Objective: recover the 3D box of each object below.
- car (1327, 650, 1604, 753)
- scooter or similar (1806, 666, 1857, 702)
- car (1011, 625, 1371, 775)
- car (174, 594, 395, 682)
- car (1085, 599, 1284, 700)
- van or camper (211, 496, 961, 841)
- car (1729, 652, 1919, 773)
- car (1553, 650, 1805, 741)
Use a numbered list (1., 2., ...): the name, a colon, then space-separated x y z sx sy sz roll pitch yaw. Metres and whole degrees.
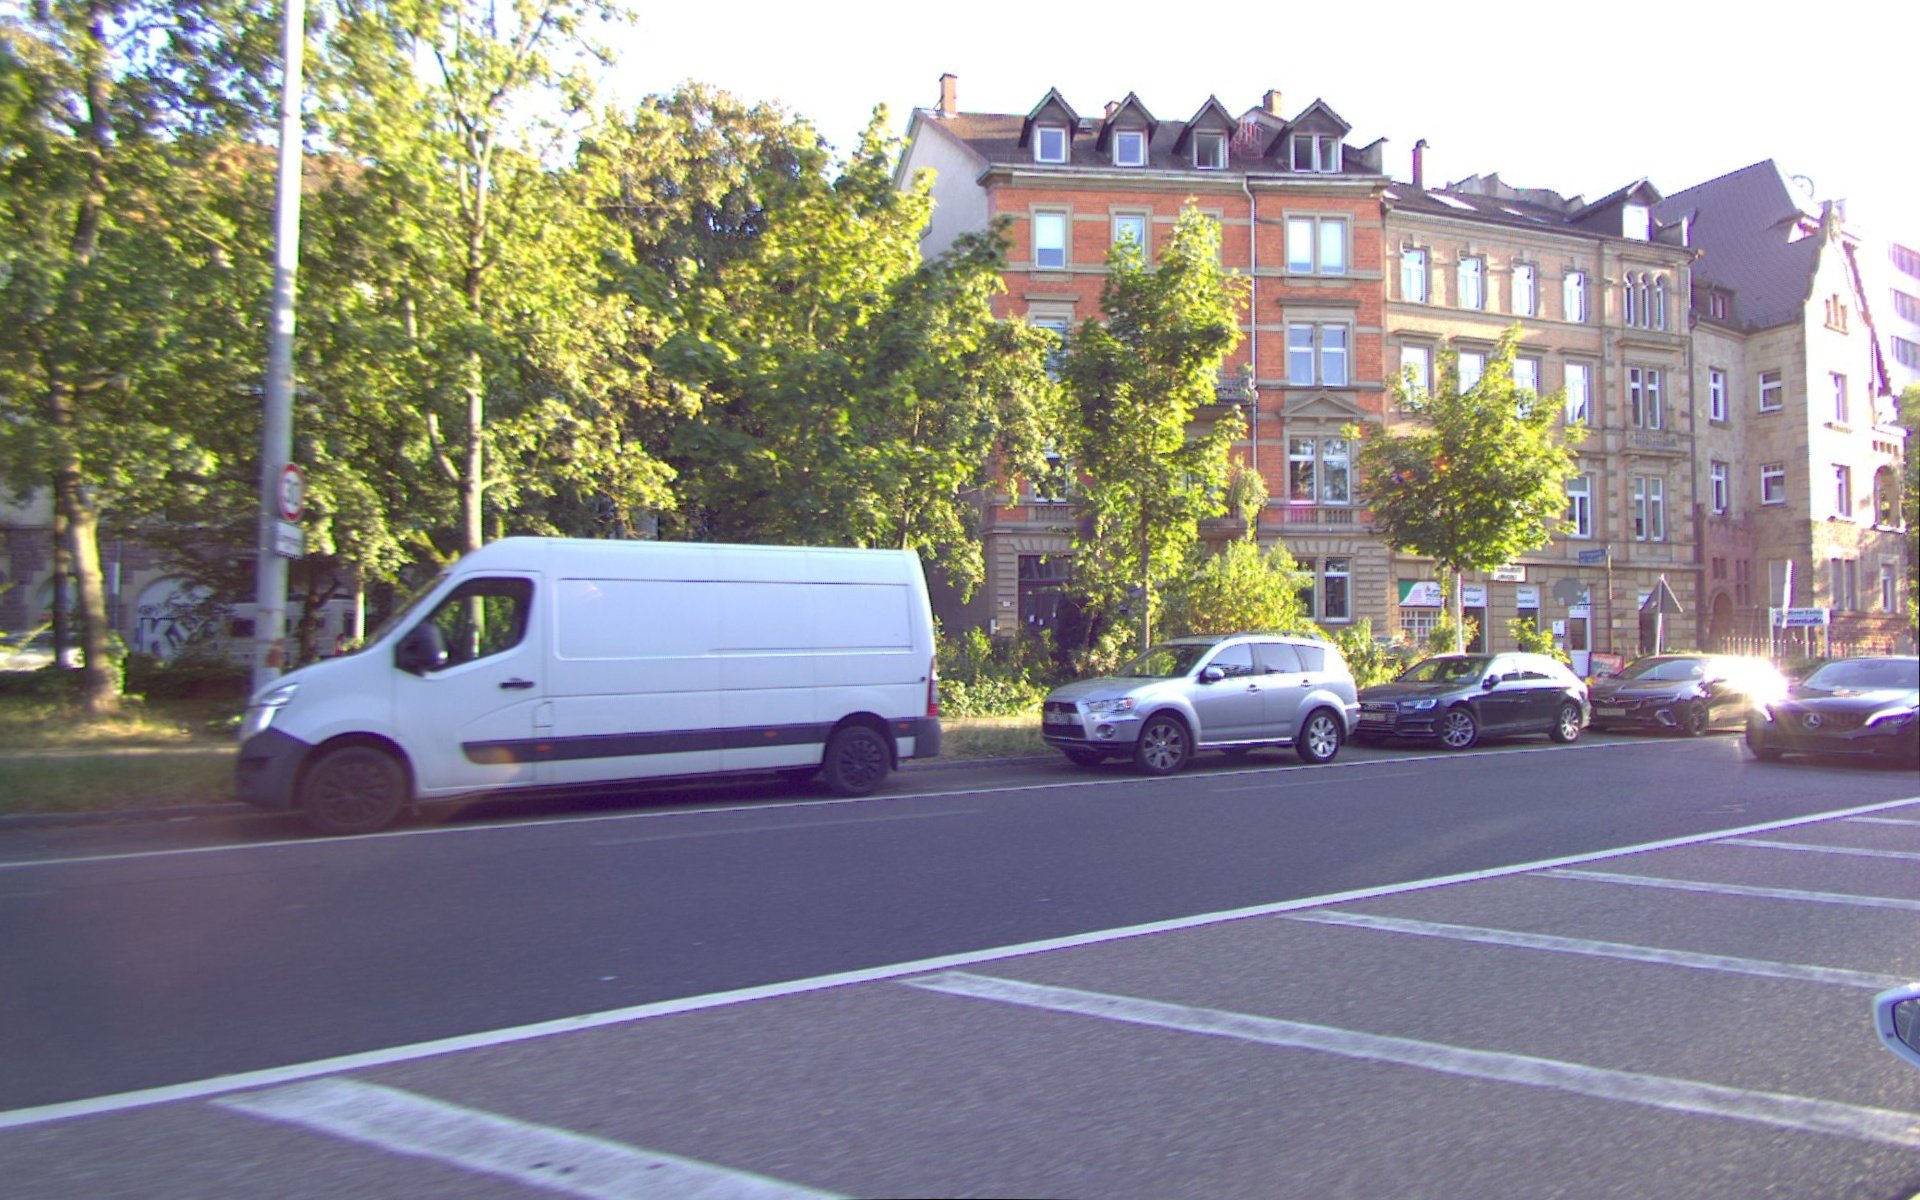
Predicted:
1. car: 8.160 1.542 16.119 4.570 1.464 1.729 2 -4 -30
2. scooter or similar: 26.501 2.563 30.544 1.095 1.070 0.288 -2 -4 14
3. car: 3.061 1.232 13.093 4.517 1.666 1.858 2 -4 -30
4. car: -20.090 1.163 30.026 5.128 2.518 2.275 0 -3 5
5. car: 6.422 1.451 29.126 5.208 2.774 2.127 0 -4 -4
6. van or camper: -3.203 0.636 9.760 6.231 2.500 2.082 2 -4 -30
7. car: 12.665 1.433 13.722 4.489 1.420 1.759 2 -4 -29
8. car: 13.451 1.700 18.740 4.771 1.503 1.985 2 -4 -30
